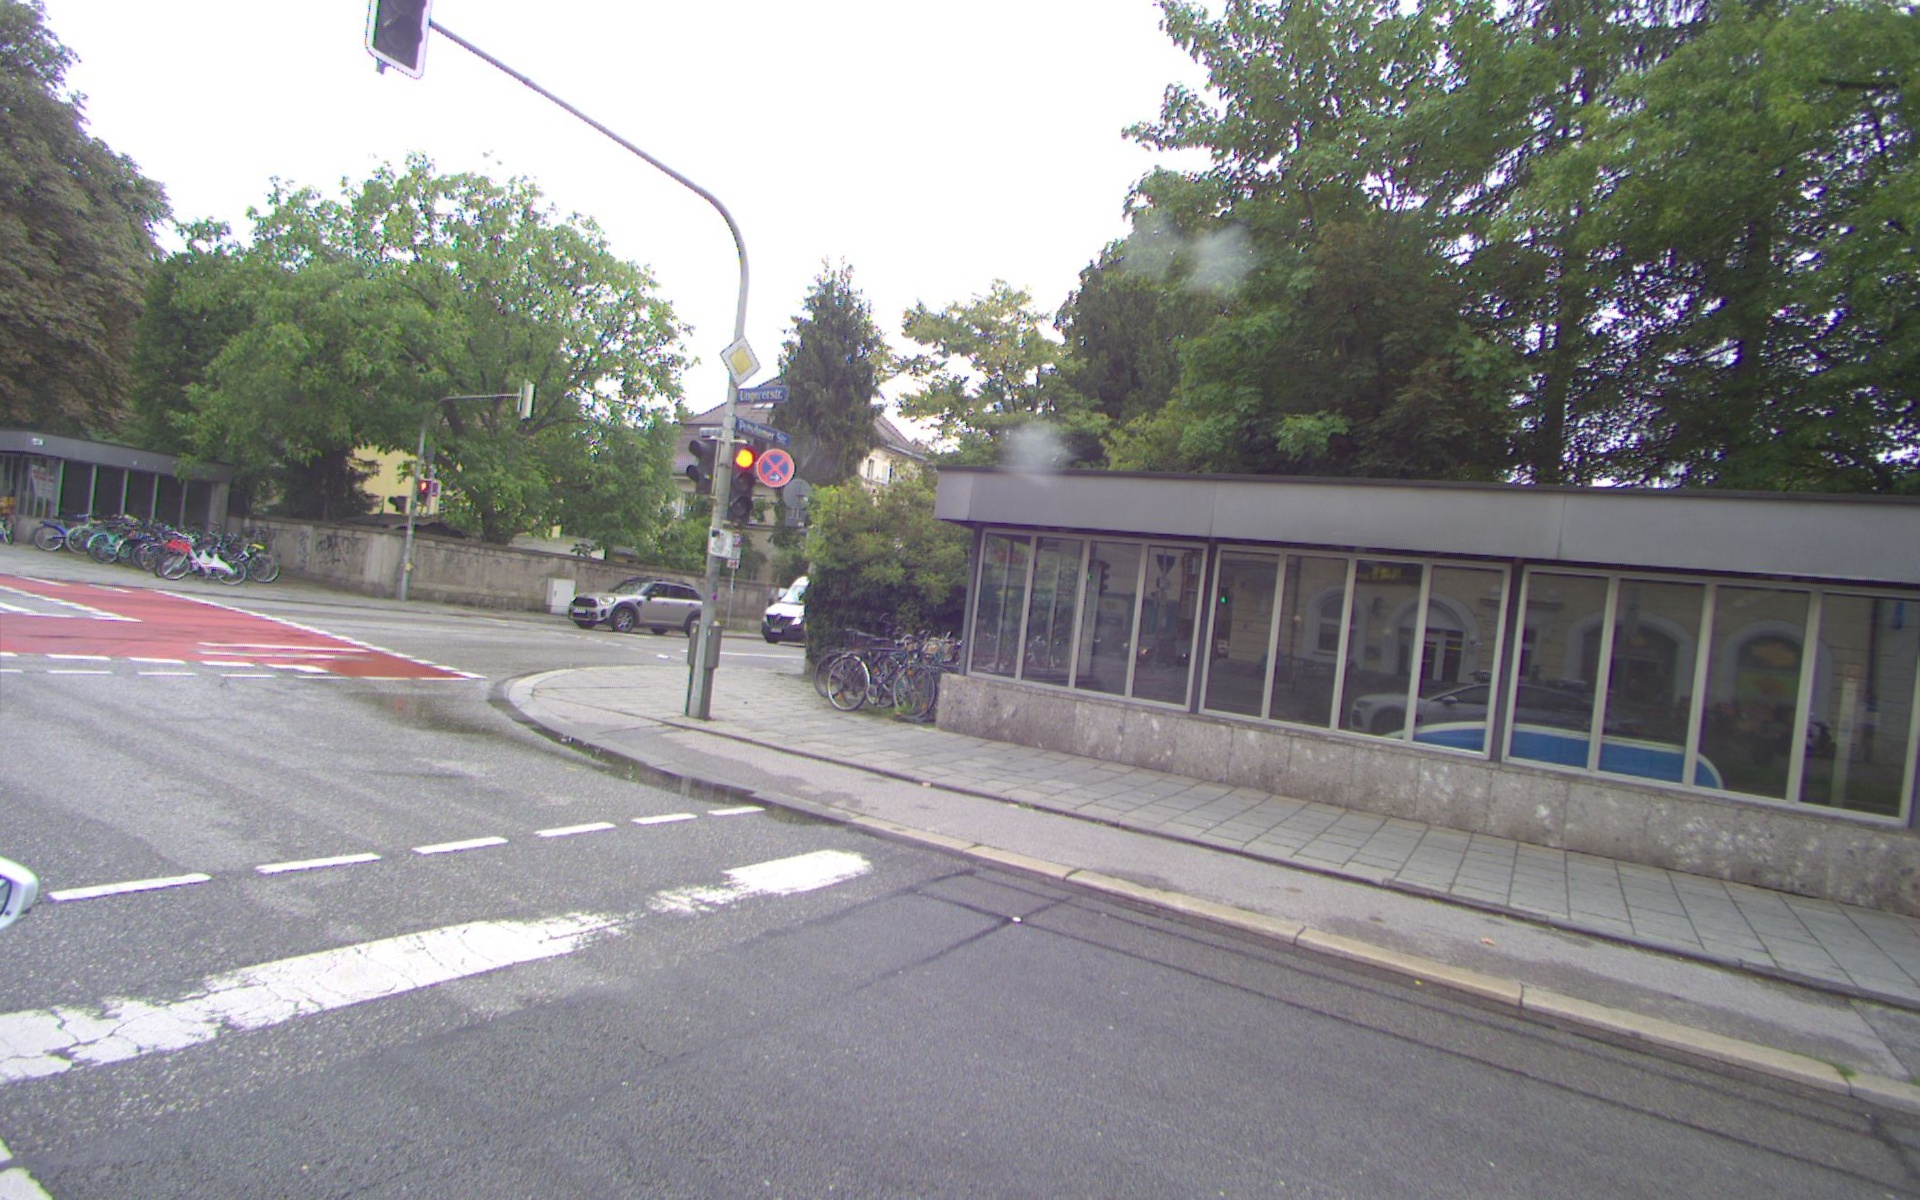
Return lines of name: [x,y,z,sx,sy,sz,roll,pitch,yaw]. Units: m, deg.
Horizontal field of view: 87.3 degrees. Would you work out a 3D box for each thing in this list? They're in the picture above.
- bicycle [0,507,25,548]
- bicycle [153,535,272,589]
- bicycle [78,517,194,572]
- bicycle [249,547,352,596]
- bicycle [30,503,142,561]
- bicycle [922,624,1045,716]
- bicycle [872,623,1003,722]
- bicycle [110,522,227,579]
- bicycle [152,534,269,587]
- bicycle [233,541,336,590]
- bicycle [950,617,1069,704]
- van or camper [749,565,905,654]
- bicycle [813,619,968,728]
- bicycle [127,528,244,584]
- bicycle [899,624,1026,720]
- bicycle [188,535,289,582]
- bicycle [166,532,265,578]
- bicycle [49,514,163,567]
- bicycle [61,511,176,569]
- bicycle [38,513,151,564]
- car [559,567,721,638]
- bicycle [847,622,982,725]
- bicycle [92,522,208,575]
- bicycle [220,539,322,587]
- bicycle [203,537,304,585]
bicycle: [-26.326,-2.038,27.459,1.981,1.027,0.557,7,0,30]
bicycle: [-17.936,-0.896,24.188,0.594,1.026,2.141,7,-1,39]
bicycle: [-21.026,-1.395,25.722,0.594,1.099,2.141,7,0,39]
bicycle: [-17.481,-0.741,26.711,0.625,1.026,2.141,7,-1,39]
bicycle: [-23.587,-1.824,27.201,0.594,1.233,2.141,7,0,39]
bicycle: [0.328,1.013,14.847,1.707,1.135,0.469,6,0,32]
bicycle: [-0.321,0.978,13.784,1.707,1.135,0.469,6,0,32]
bicycle: [-19.740,-1.215,25.123,0.594,1.114,2.141,7,0,39]
bicycle: [-18.351,-0.951,24.680,0.625,1.026,2.141,7,-1,39]
bicycle: [-18.160,-0.919,27.077,0.625,1.026,2.141,7,-1,39]
bicycle: [0.744,0.923,15.494,1.707,1.135,0.469,6,0,32]
van or camper: [-4.491,0.411,35.067,2.033,2.499,5.558,7,-1,33]
bicycle: [-0.896,0.904,12.688,1.858,1.135,0.600,6,0,32]
bicycle: [-19.133,-1.070,24.905,0.594,1.084,2.141,7,0,39]
bicycle: [0.017,1.010,14.333,1.707,1.135,0.469,6,0,32]
bicycle: [-20.180,-1.147,28.175,0.625,1.026,2.141,7,-1,39]
bicycle: [-21.468,-1.280,29.039,0.625,1.026,2.141,7,-1,39]
bicycle: [-22.309,-1.532,26.325,0.594,1.075,2.141,7,0,39]
bicycle: [-21.702,-1.524,25.989,0.594,1.192,2.141,7,0,39]
bicycle: [-23.026,-1.627,26.804,0.594,1.026,2.141,7,-1,39]
car: [-9.030,0.108,28.674,1.668,1.532,4.172,7,-1,33]
bicycle: [-0.617,0.946,13.286,1.707,1.135,0.469,6,0,32]
bicycle: [-20.403,-1.287,25.381,0.594,1.026,2.141,7,-1,39]
bicycle: [-18.796,-0.987,27.477,0.625,1.026,2.141,7,-1,39]
bicycle: [-19.499,-1.069,27.817,0.625,1.026,2.141,7,-1,39]
